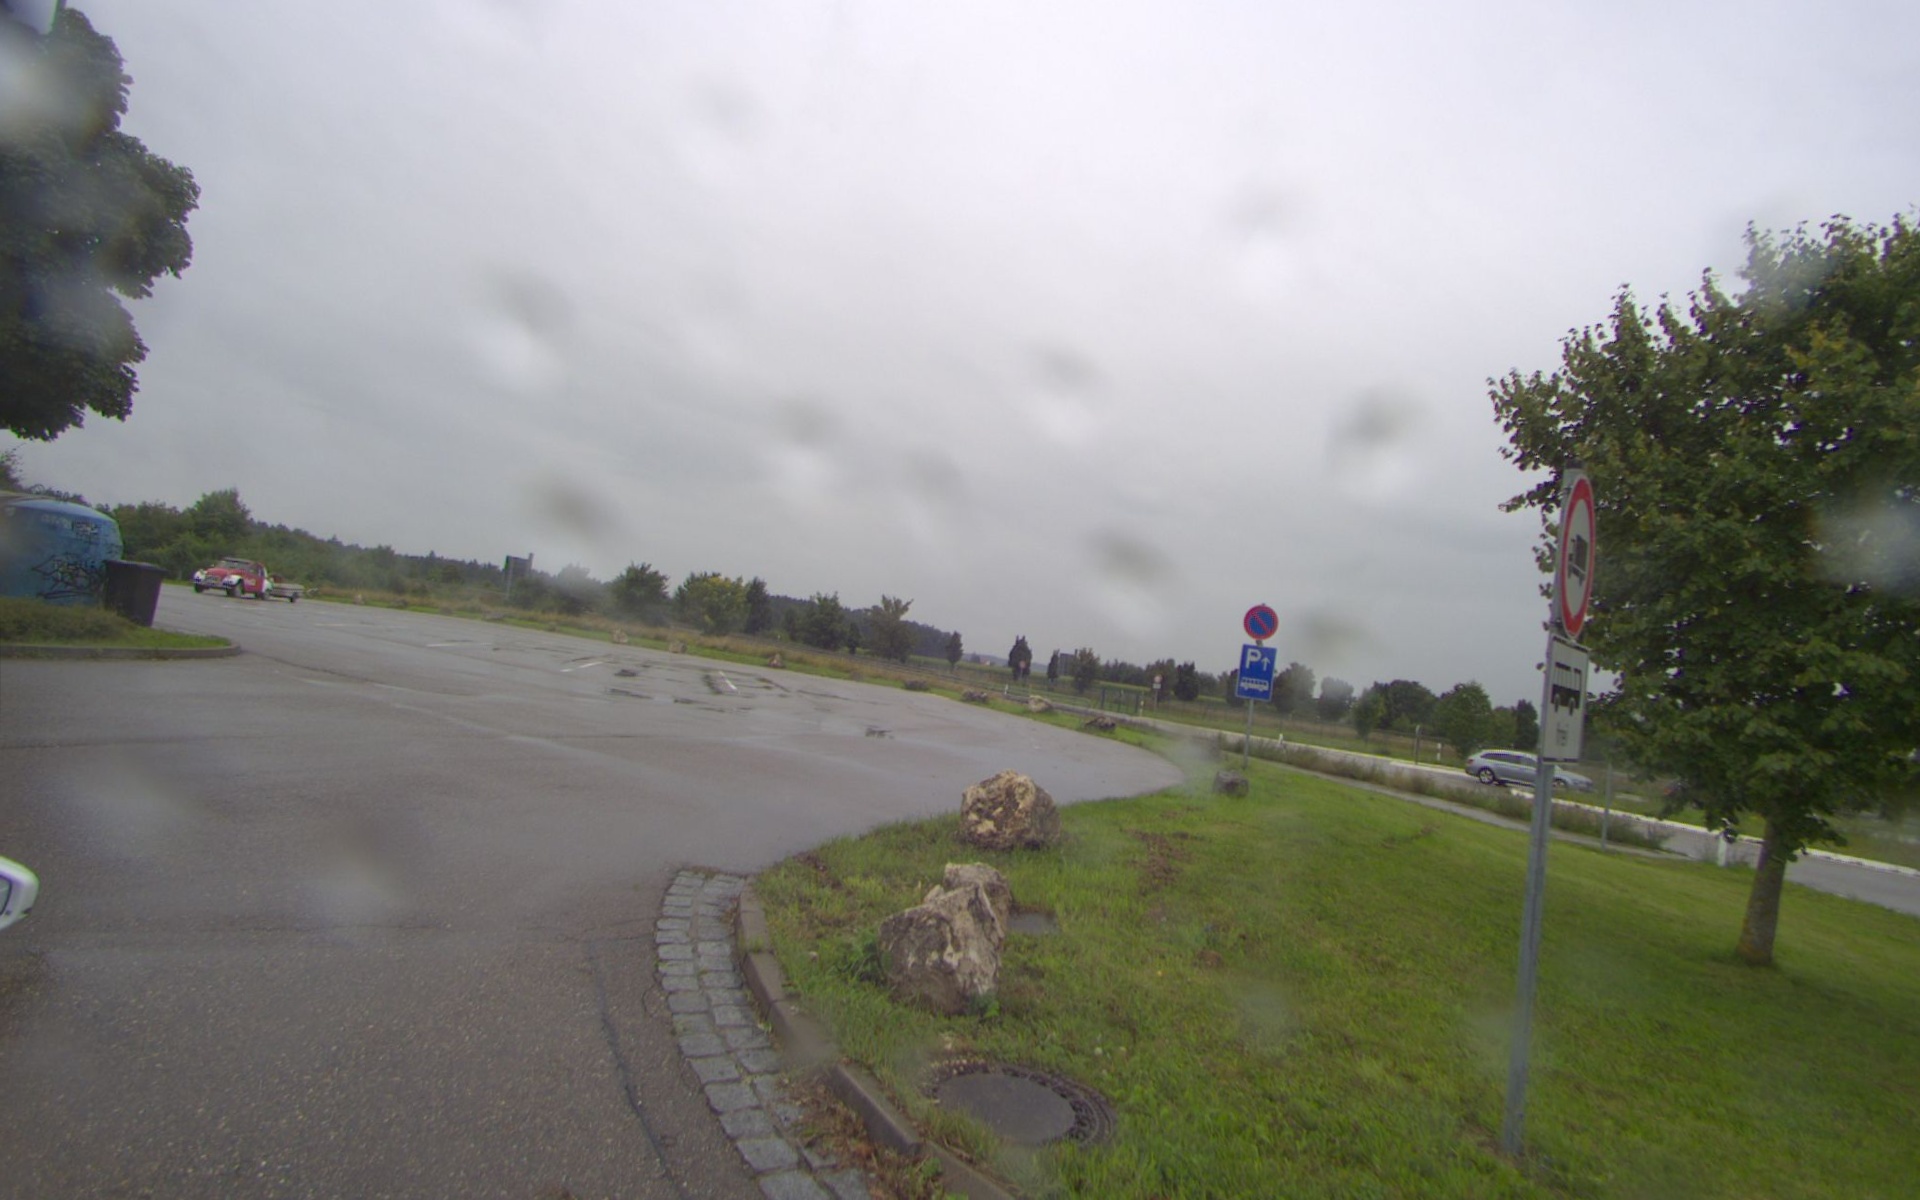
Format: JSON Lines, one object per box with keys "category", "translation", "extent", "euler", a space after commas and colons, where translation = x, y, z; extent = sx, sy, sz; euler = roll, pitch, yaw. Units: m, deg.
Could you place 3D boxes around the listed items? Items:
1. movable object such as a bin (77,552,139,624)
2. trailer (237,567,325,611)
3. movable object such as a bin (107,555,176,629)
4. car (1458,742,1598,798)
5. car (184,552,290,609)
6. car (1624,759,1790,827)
{"category": "movable object such as a bin", "translation": [-12.175, -0.167, 14.388], "extent": [0.399, 0.959, 0.449], "euler": [9, -2, -16]}
{"category": "trailer", "translation": [-29.547, -0.439, 43.923], "extent": [1.673, 1.549, 3.995], "euler": [7, -3, -13]}
{"category": "movable object such as a bin", "translation": [-11.664, -0.102, 14.344], "extent": [0.427, 0.959, 0.474], "euler": [8, -3, 8]}
{"category": "car", "translation": [23.592, 7.042, 41.927], "extent": [1.985, 1.498, 4.613], "euler": [8, -3, -39]}
{"category": "car", "translation": [-28.640, -0.699, 40.014], "extent": [1.799, 1.796, 3.996], "euler": [7, -4, -12]}
{"category": "car", "translation": [27.523, 7.091, 37.174], "extent": [1.986, 1.619, 4.481], "euler": [11, -5, -37]}
